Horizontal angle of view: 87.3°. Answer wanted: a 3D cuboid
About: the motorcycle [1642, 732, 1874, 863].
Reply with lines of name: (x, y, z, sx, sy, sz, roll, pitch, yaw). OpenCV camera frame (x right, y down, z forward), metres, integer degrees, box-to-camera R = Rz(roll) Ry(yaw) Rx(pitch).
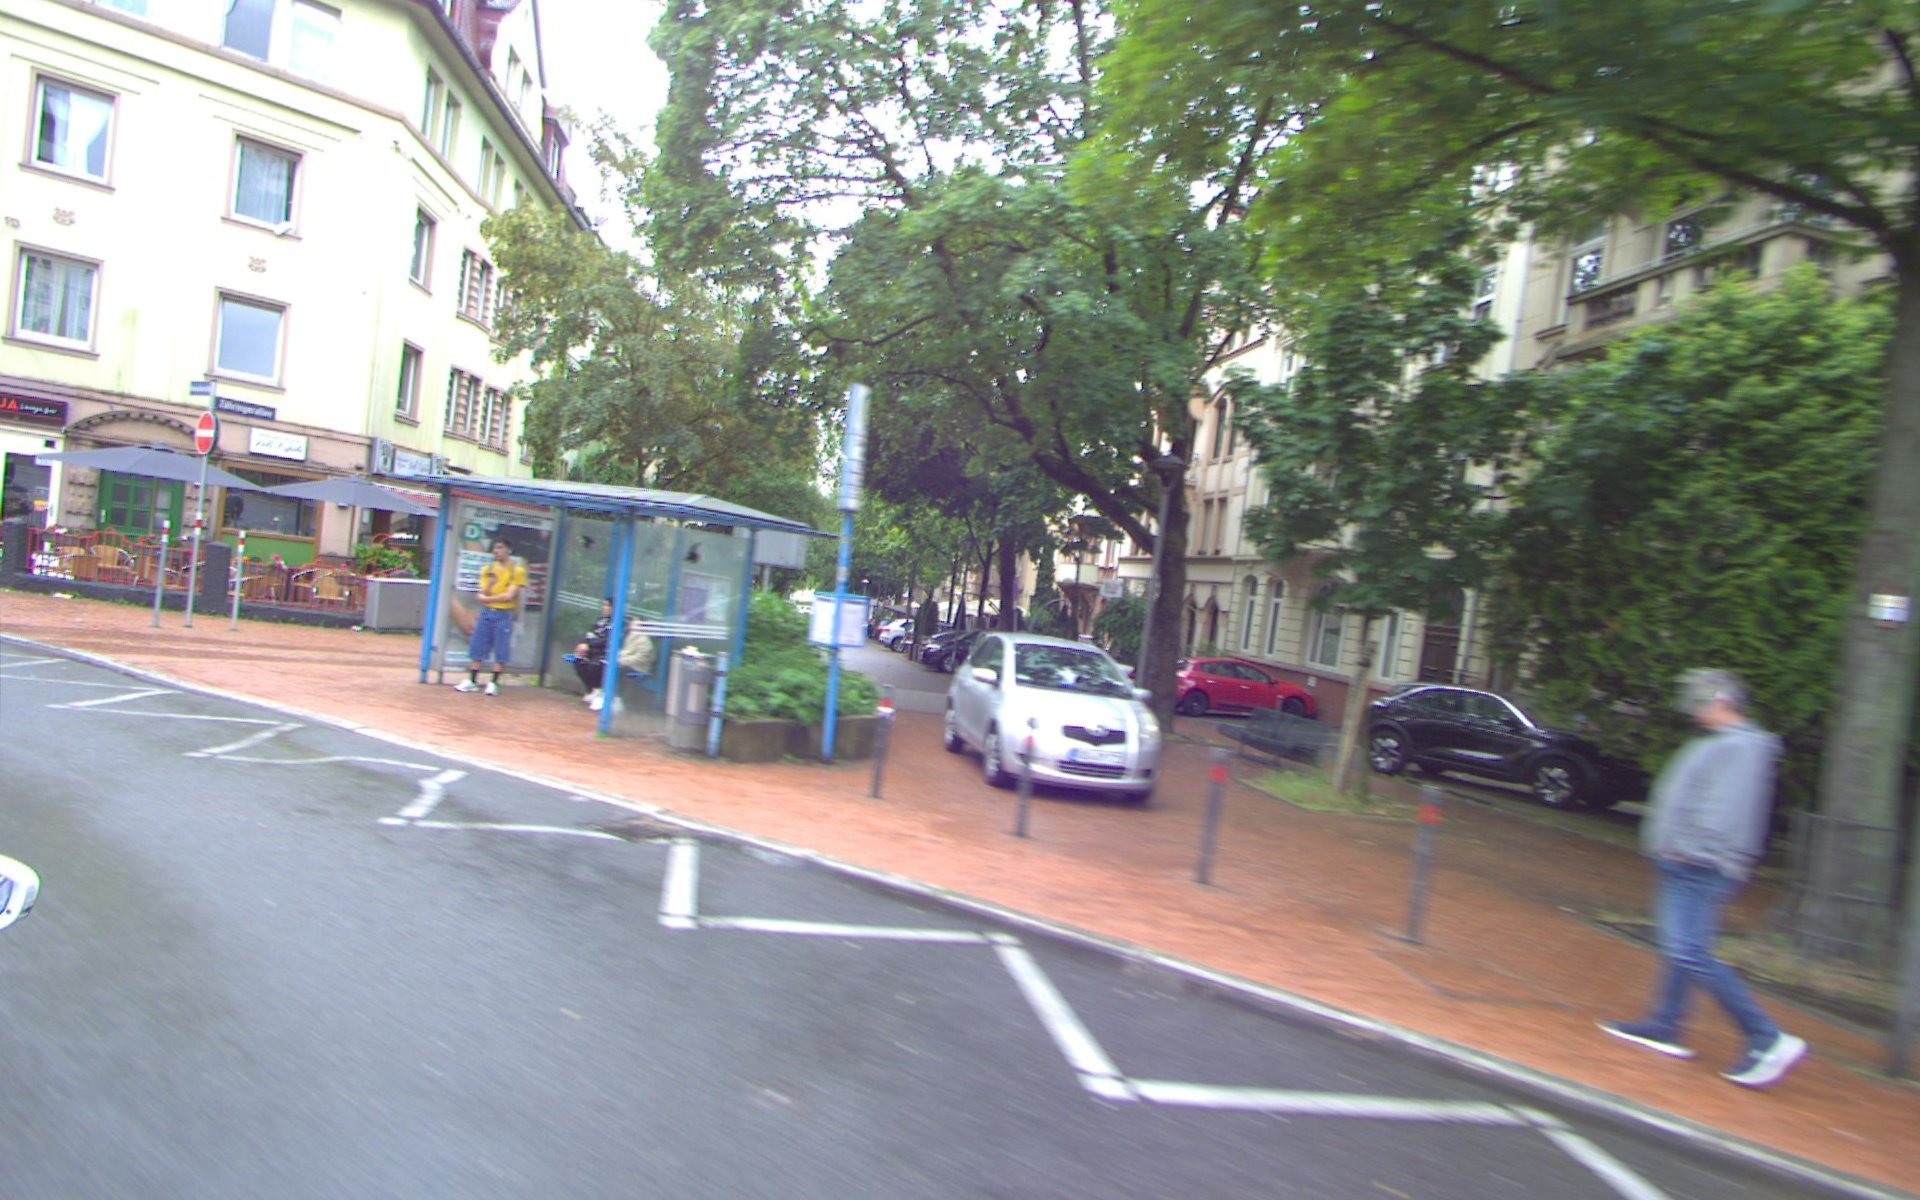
motorcycle: (10.196, 2.480, 12.955, 0.550, 1.203, 2.177, 7, 0, -37)

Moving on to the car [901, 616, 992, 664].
car: (-0.604, 1.691, 43.155, 3.590, 1.555, 1.679, 7, 0, -9)

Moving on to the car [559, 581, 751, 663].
car: (-8.021, 0.577, 26.865, 4.570, 1.546, 1.790, 7, 0, -9)

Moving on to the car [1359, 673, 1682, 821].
car: (8.365, 2.142, 15.299, 1.757, 1.494, 3.811, 7, -1, -38)

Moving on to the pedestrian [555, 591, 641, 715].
pedestrian: (-4.073, 0.599, 11.311, 0.610, 1.296, 0.568, 7, 0, 43)

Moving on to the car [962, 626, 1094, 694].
car: (1.945, 1.736, 29.208, 3.442, 1.483, 1.588, 7, 0, -9)

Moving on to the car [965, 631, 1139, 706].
car: (2.422, 1.816, 27.072, 4.261, 1.413, 1.705, 7, -1, -9)

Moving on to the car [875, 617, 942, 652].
car: (-2.985, 1.994, 58.242, 3.590, 1.555, 1.679, 7, 0, -9)

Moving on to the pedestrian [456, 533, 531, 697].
pedestrian: (-5.354, 0.168, 11.541, 0.554, 1.797, 0.541, 7, 0, -31)

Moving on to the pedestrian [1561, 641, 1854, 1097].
pedestrian: (3.274, 1.109, 4.436, 0.568, 1.755, 0.725, 7, 0, -33)

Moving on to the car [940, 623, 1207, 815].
car: (1.024, 1.140, 10.969, 1.742, 1.519, 3.670, 8, -2, -10)

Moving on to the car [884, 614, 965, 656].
car: (-1.733, 1.674, 48.436, 3.590, 1.555, 1.679, 7, 0, -9)

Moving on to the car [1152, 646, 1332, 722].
car: (7.137, 2.120, 25.644, 3.930, 1.547, 1.874, 4, 0, -9)

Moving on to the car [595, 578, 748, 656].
car: (-8.365, 0.499, 29.485, 3.932, 1.748, 1.790, 7, 0, -9)

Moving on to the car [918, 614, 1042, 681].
car: (0.621, 1.535, 33.161, 3.718, 1.687, 1.677, 7, 0, -6)

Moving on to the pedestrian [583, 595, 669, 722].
pedestrian: (-3.631, 0.639, 10.938, 0.527, 1.296, 0.568, 7, 0, 42)

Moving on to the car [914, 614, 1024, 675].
car: (0.297, 1.567, 35.989, 3.590, 1.687, 1.588, 7, 0, -9)
